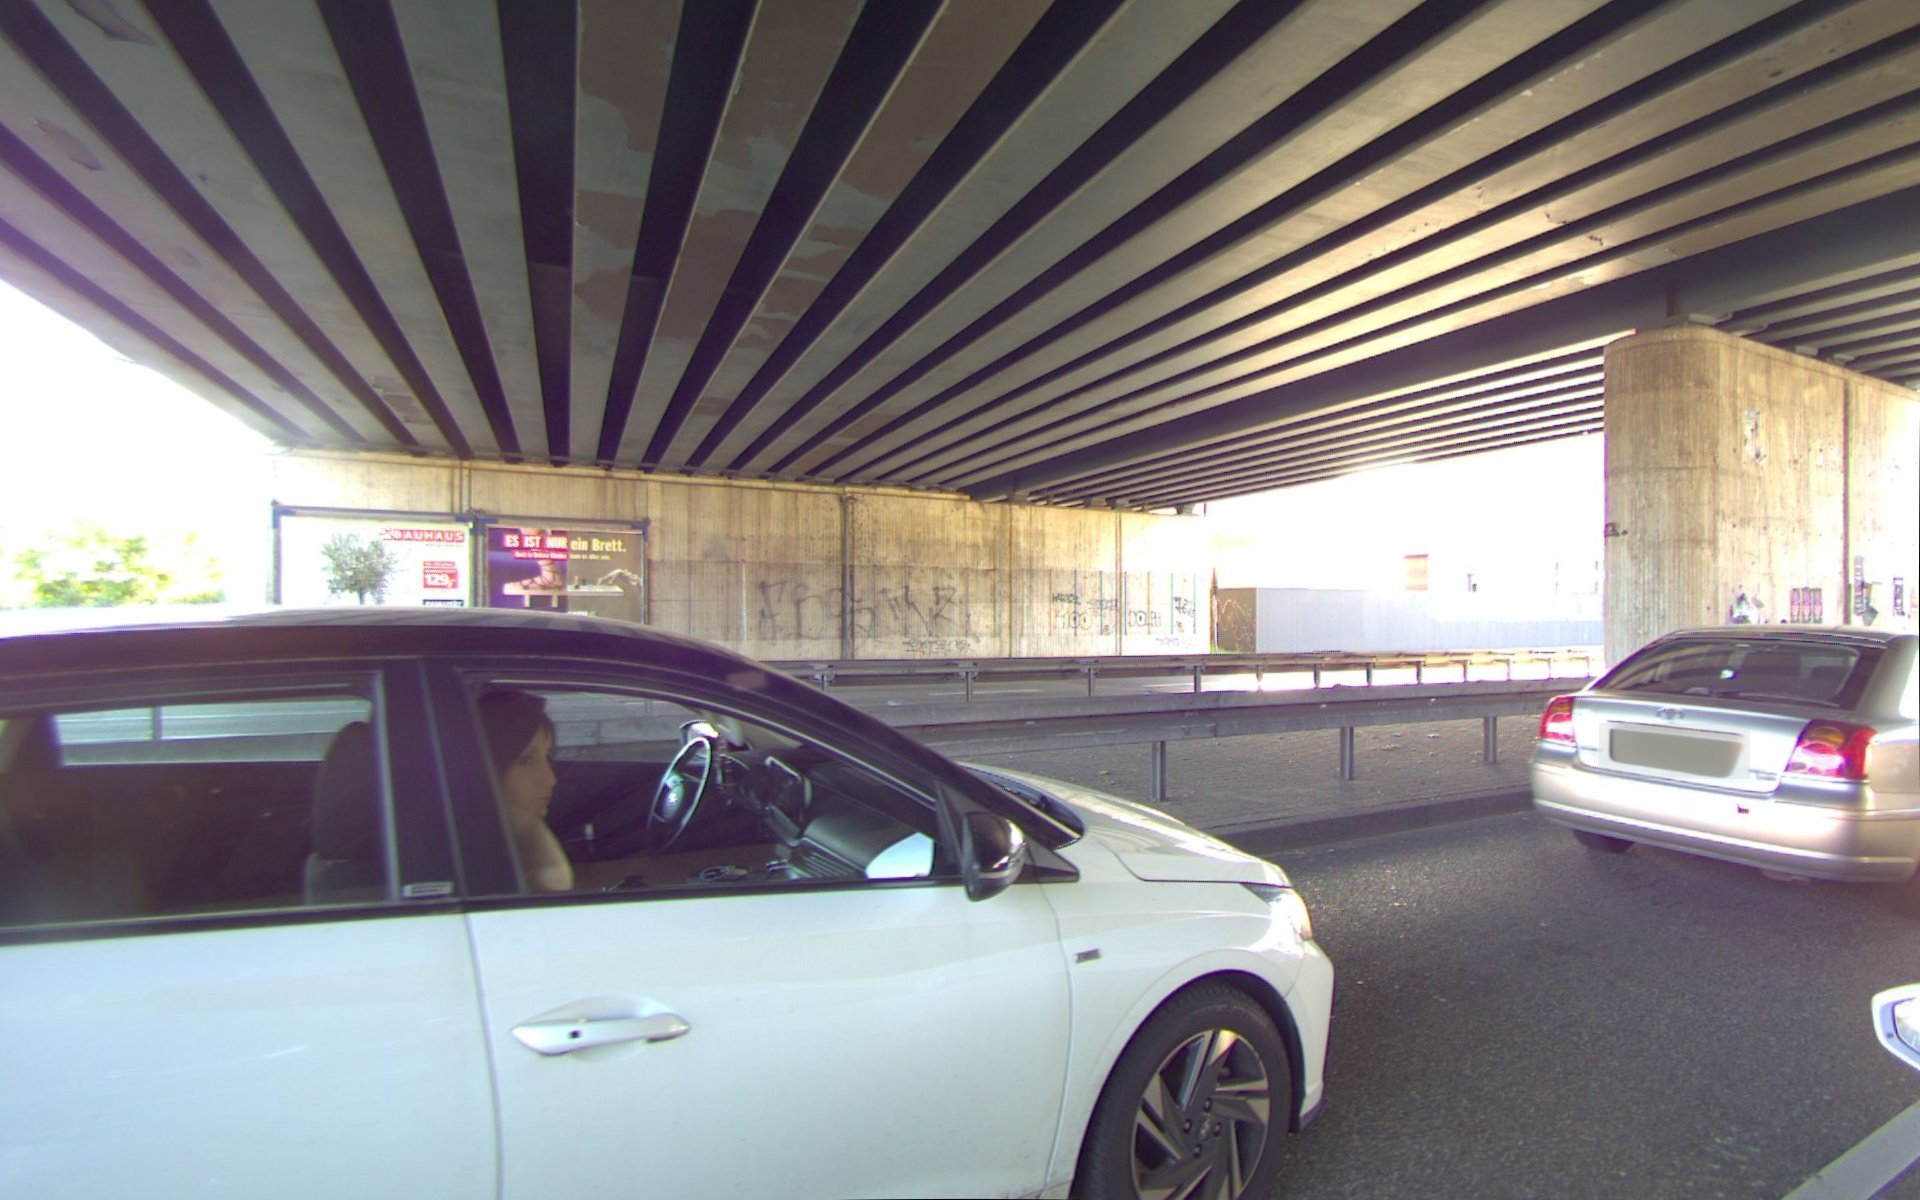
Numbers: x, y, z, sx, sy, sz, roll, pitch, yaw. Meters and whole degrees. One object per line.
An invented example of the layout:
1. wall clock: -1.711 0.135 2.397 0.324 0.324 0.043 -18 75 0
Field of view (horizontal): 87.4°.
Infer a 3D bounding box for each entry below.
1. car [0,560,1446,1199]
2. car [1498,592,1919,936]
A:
1. car: -0.836 0.730 2.295 3.948 1.499 1.723 2 -1 -33
2. car: 5.401 0.771 6.251 4.270 1.499 1.724 2 -1 -32
